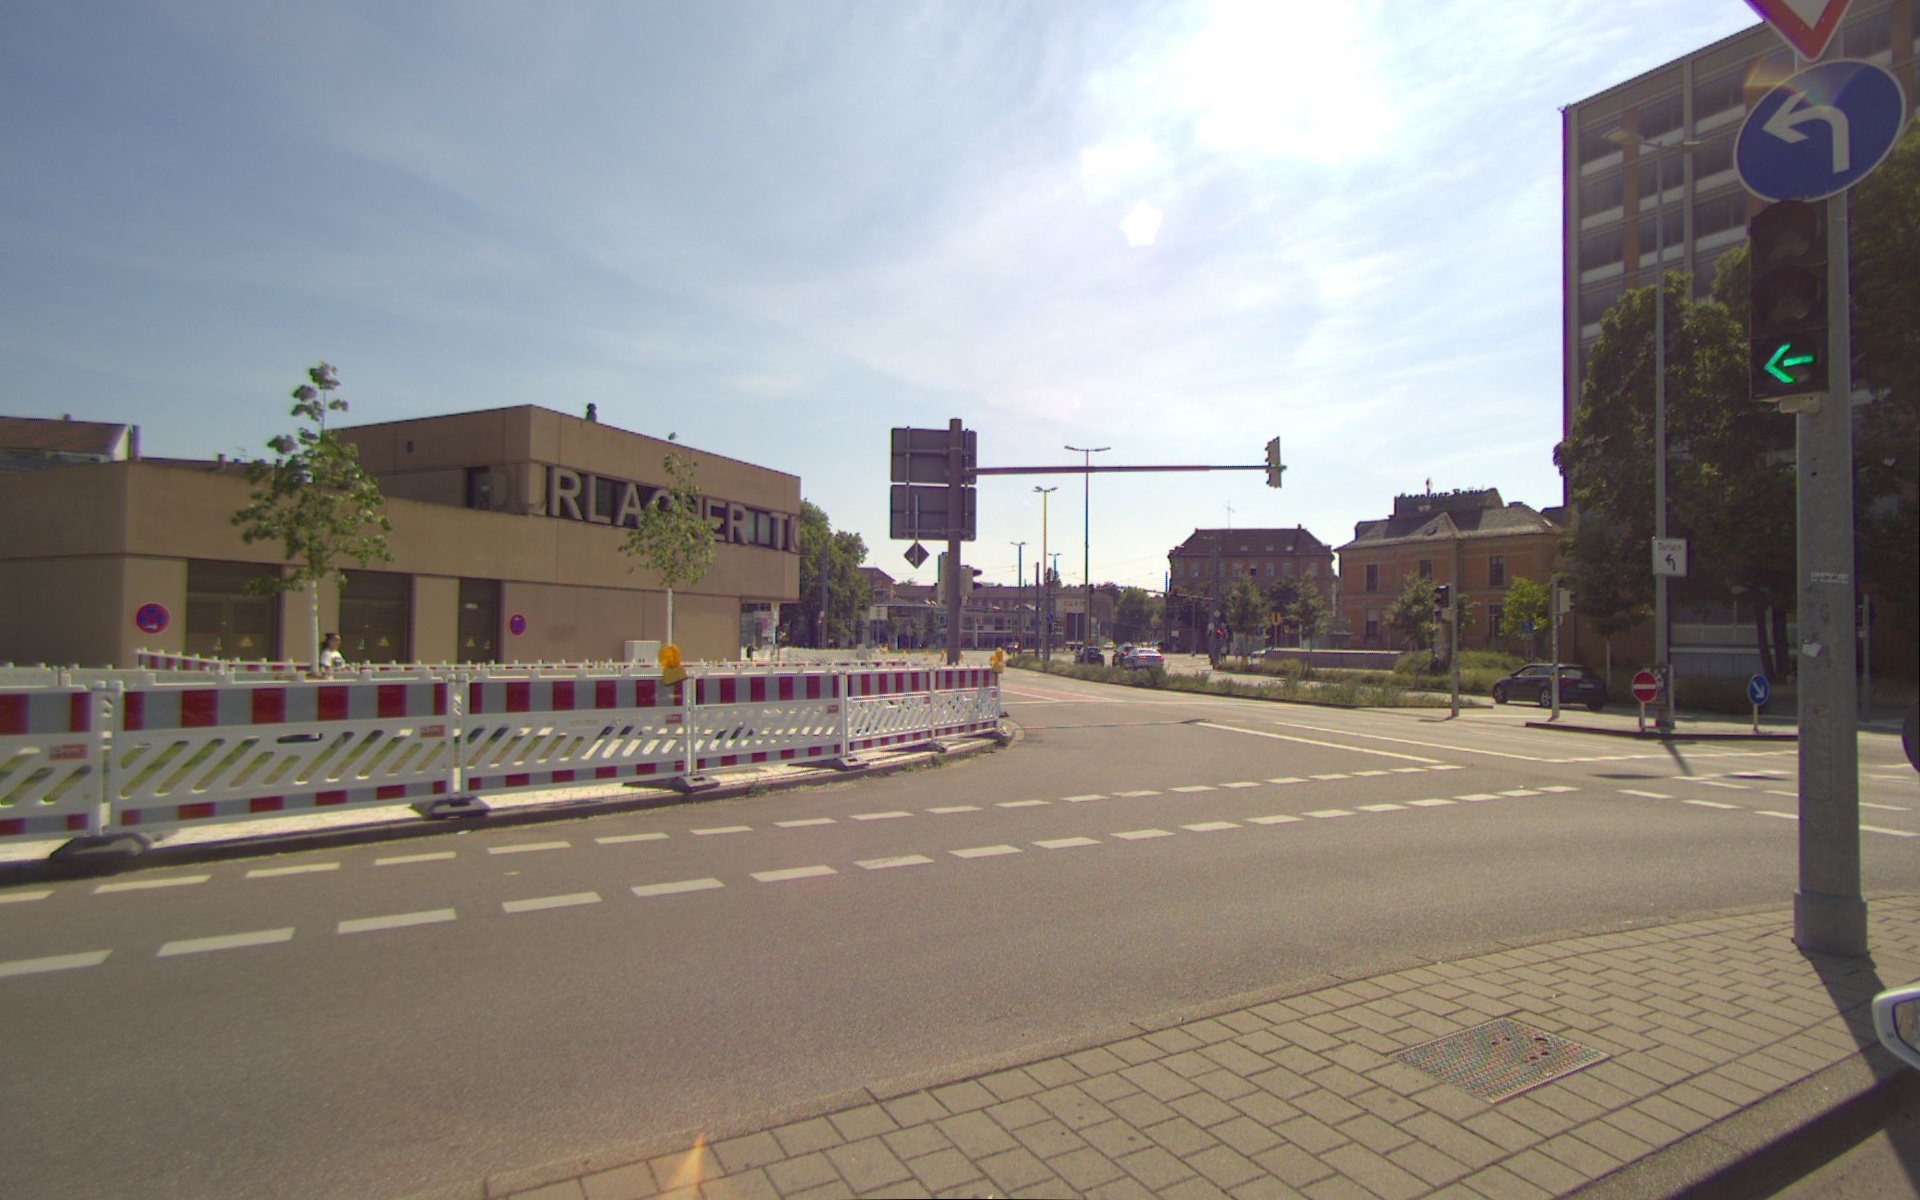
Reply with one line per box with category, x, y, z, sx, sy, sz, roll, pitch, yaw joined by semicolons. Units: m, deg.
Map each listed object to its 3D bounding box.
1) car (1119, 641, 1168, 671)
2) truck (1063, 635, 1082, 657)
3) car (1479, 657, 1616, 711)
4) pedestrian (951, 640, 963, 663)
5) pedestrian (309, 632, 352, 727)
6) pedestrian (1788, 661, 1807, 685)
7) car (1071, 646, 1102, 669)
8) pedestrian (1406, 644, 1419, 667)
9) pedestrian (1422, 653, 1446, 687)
car;11.688;3.538;64.151;1.963;1.839;3.996;1;-2;-7
truck;20.431;8.316;182.449;3.011;3.779;7.937;1;-2;10
car;18.971;2.684;32.664;1.767;1.530;3.996;2;-3;-7
pedestrian;-0.227;3.818;74.835;0.645;1.683;0.655;3;-3;-42
pedestrian;-10.725;1.346;17.118;0.416;1.585;0.557;1;-2;-13
pedestrian;32.535;2.836;39.044;0.387;0.903;0.427;2;-2;-21
car;9.014;4.105;71.774;1.764;1.530;4.001;1;-2;1
pedestrian;32.916;4.022;73.048;0.641;1.683;0.647;2;-2;-22
pedestrian;24.825;3.654;52.612;0.857;1.748;0.799;1;-2;-7
